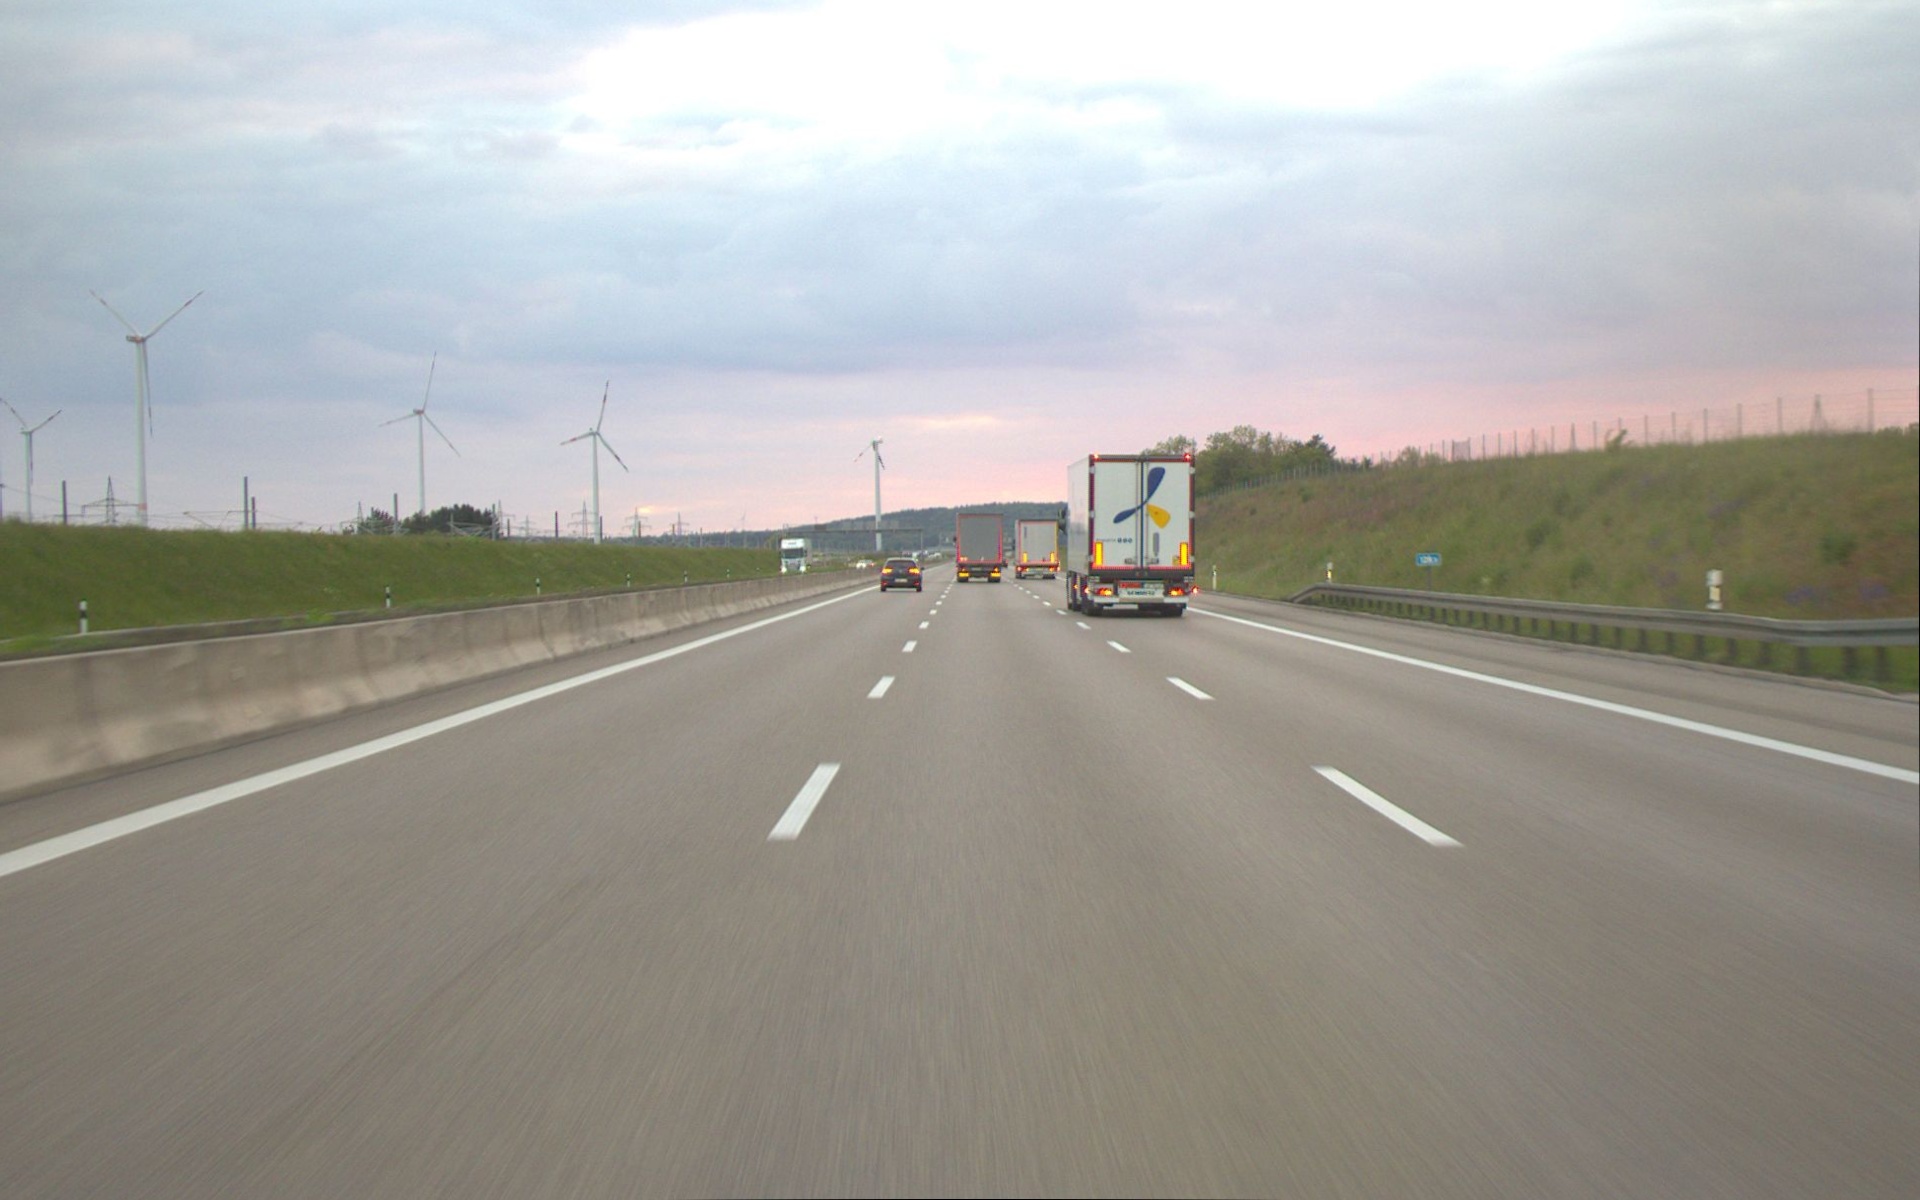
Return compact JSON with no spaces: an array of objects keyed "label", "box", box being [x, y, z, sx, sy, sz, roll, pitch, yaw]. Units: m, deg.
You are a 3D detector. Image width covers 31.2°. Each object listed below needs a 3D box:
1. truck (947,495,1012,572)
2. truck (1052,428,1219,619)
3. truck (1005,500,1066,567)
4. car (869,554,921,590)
[{"label":"truck","box":[1.087,-3.851,199.380,3.647,4.399,8.636,0,1,0]},{"label":"truck","box":[4.418,-1.983,88.945,3.675,4.549,10.982,-1,1,0]},{"label":"truck","box":[5.102,-4.526,233.432,3.966,4.399,8.636,-1,1,1]},{"label":"car","box":[-2.747,-1.210,146.687,1.988,1.425,4.000,-1,2,2]}]
